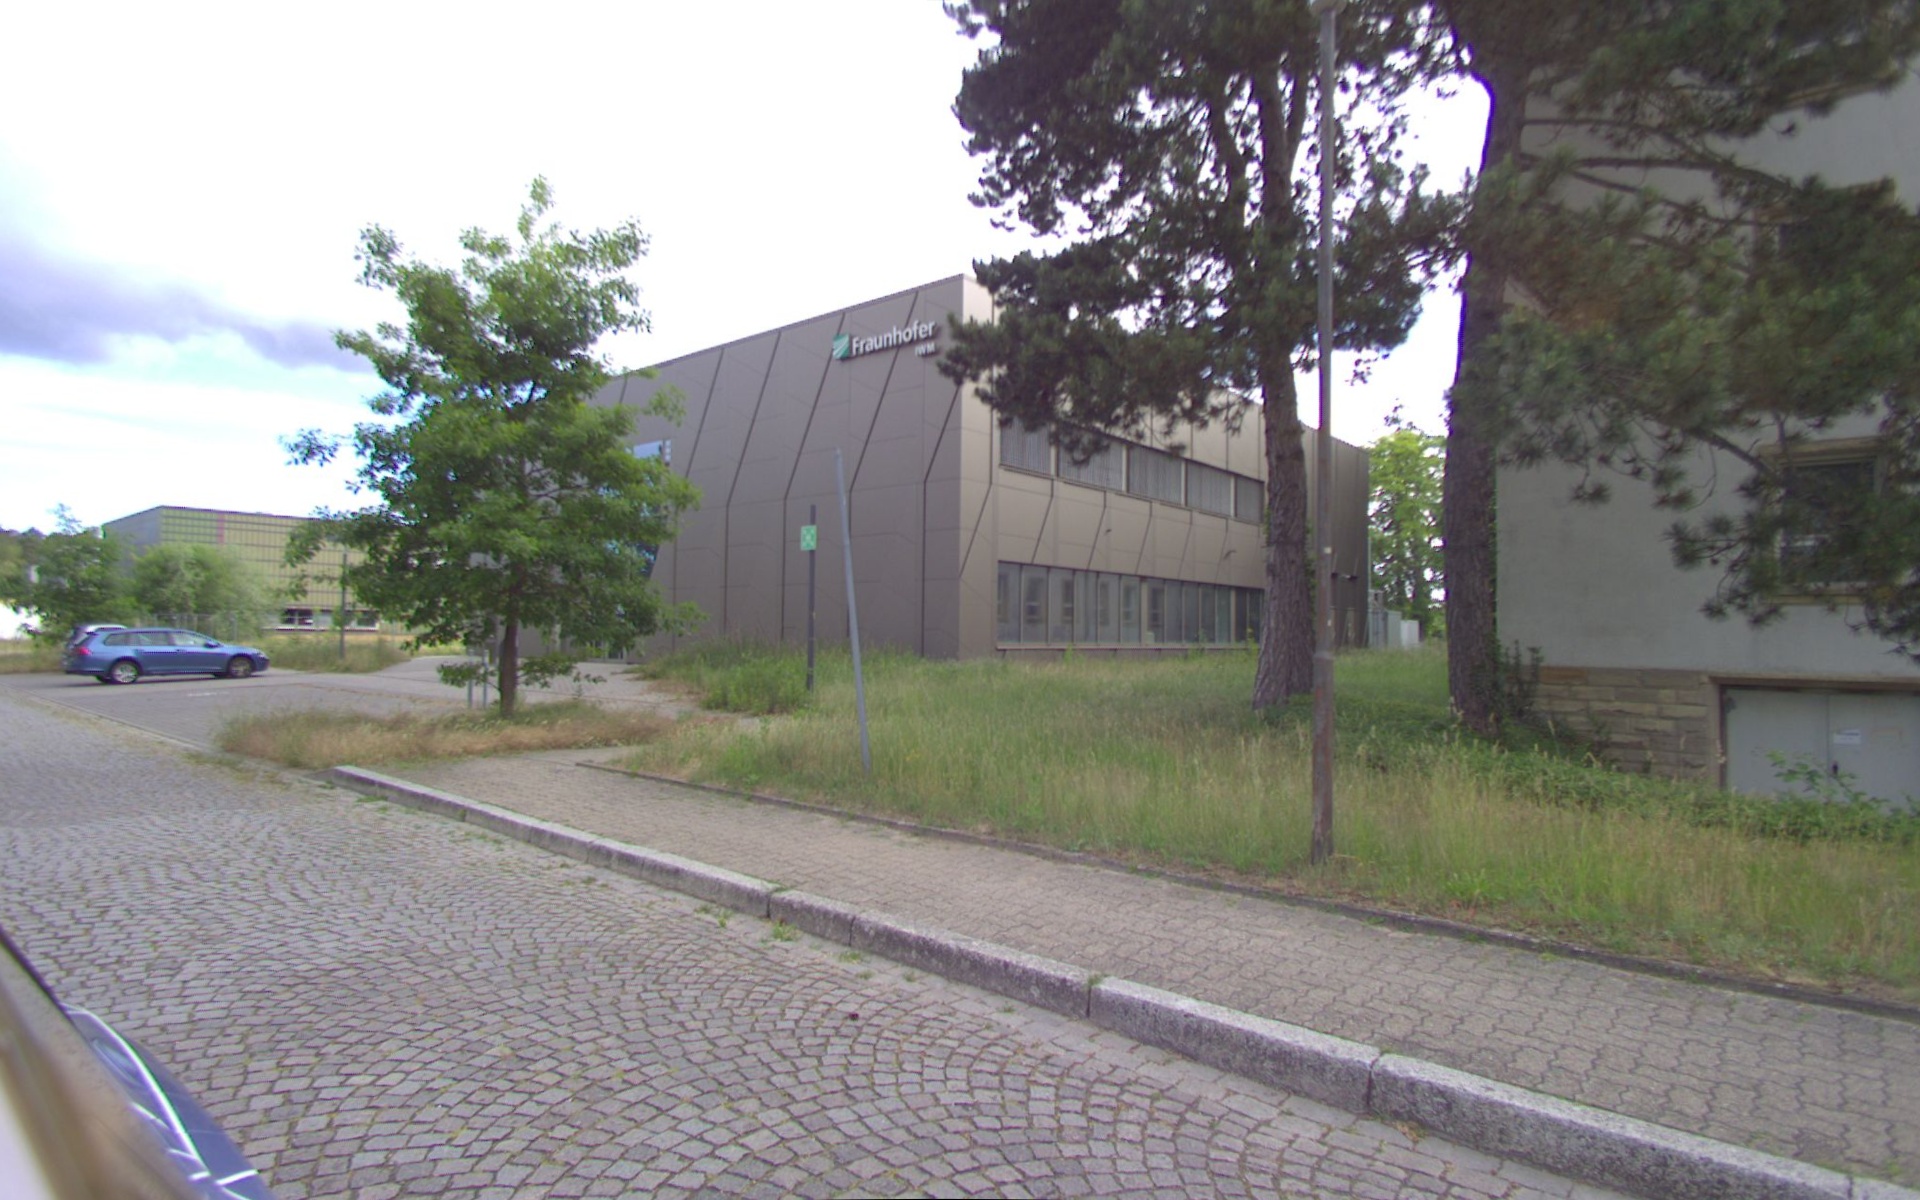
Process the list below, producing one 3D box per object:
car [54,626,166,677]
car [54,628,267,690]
[{"bbox_3d":[-27.482,1.632,32.760,1.499,1.541,2.552,-1,-1,39],"label":"car"},{"bbox_3d":[-21.927,1.551,27.924,1.631,1.481,4.372,-1,-1,38],"label":"car"}]
